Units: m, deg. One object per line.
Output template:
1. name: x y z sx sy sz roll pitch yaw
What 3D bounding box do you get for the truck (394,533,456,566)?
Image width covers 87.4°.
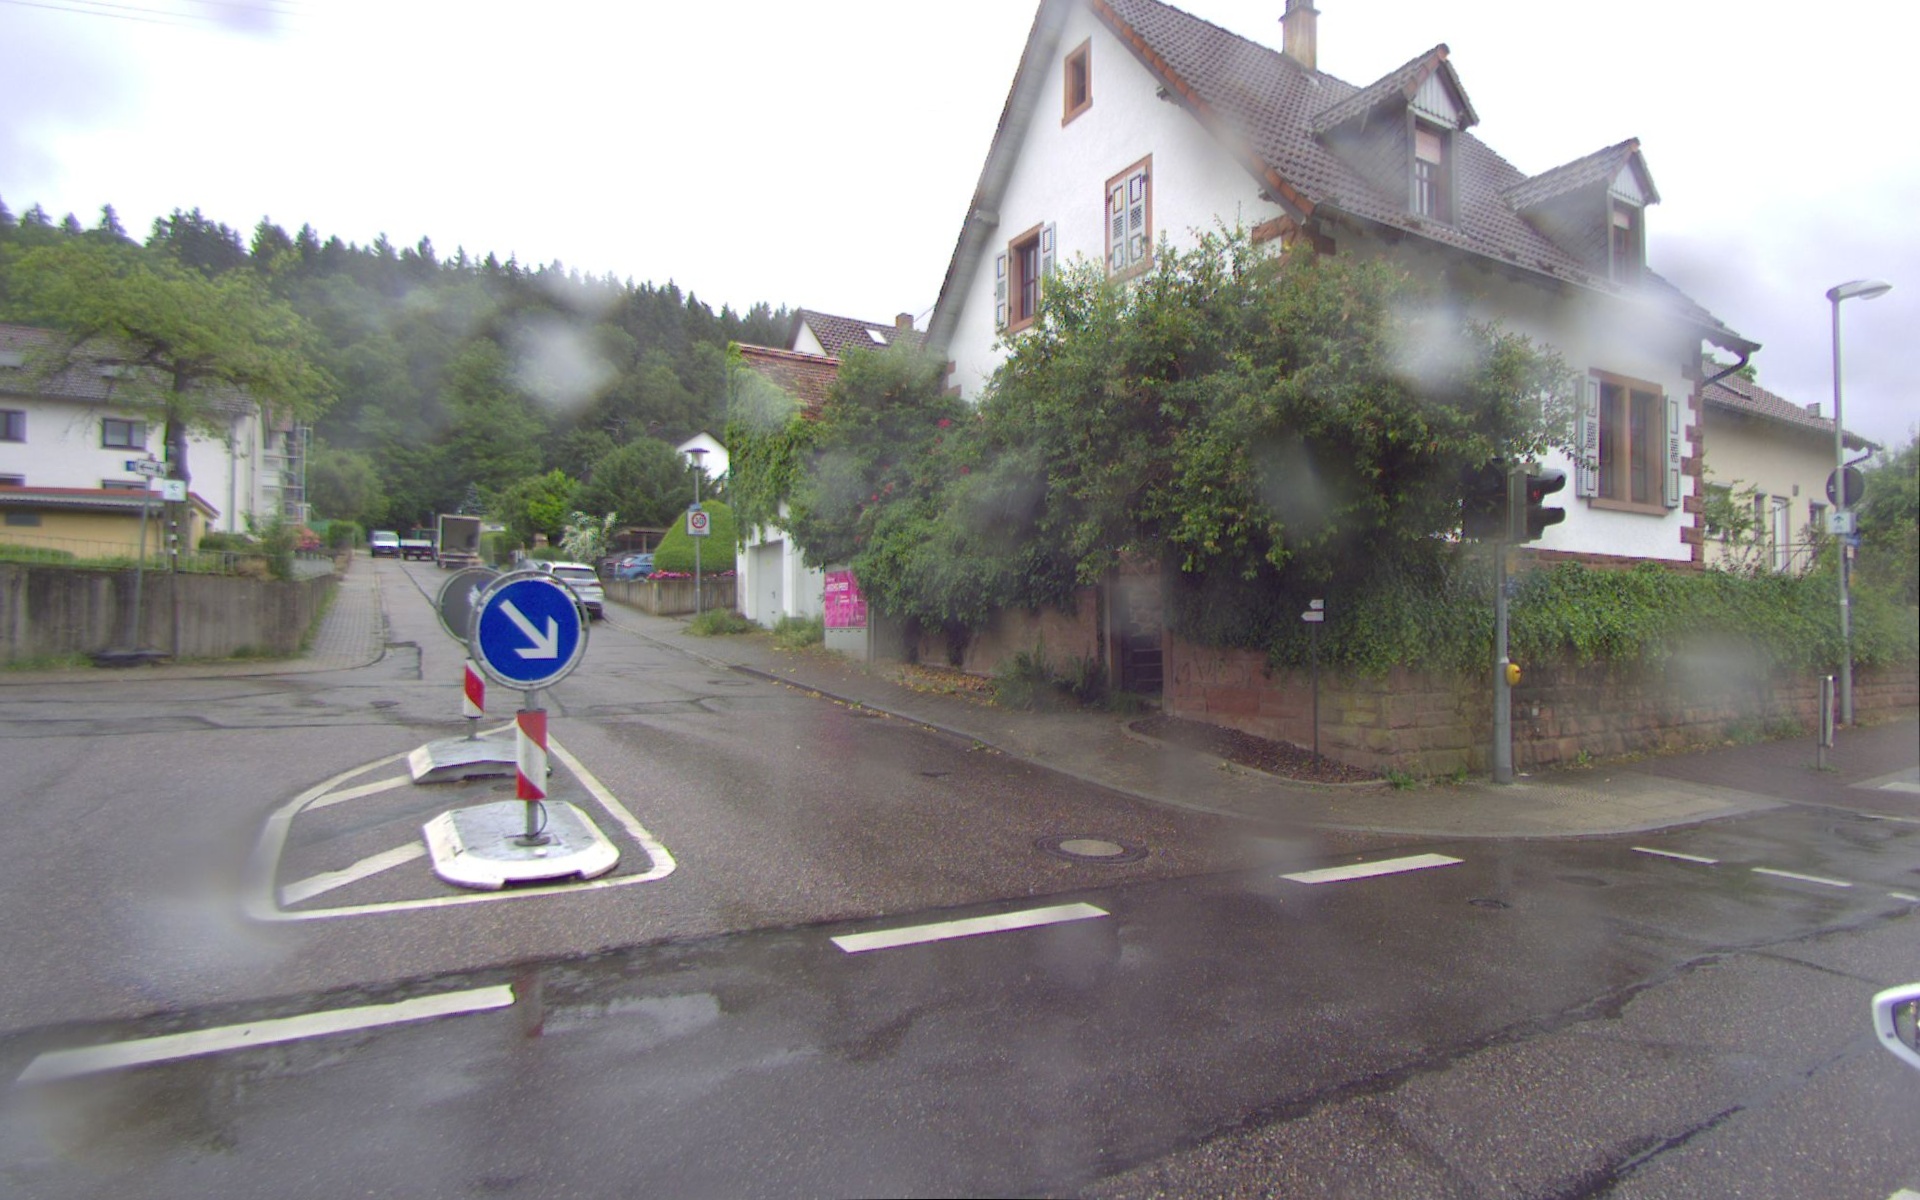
1. truck: -38.673 -3.607 72.790 2.260 2.155 6.065 2 1 -12

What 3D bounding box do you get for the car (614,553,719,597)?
1. car: -12.196 -1.030 41.775 3.846 1.534 1.884 2 5 -31

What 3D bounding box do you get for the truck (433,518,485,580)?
1. truck: -30.006 -2.966 60.060 2.424 3.397 6.606 2 1 -29

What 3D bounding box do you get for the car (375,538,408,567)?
1. car: -43.191 -3.606 76.276 1.896 2.040 3.963 2 1 -33

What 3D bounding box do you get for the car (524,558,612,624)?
1. car: -11.583 -0.314 29.561 1.878 1.535 3.860 2 5 -29
